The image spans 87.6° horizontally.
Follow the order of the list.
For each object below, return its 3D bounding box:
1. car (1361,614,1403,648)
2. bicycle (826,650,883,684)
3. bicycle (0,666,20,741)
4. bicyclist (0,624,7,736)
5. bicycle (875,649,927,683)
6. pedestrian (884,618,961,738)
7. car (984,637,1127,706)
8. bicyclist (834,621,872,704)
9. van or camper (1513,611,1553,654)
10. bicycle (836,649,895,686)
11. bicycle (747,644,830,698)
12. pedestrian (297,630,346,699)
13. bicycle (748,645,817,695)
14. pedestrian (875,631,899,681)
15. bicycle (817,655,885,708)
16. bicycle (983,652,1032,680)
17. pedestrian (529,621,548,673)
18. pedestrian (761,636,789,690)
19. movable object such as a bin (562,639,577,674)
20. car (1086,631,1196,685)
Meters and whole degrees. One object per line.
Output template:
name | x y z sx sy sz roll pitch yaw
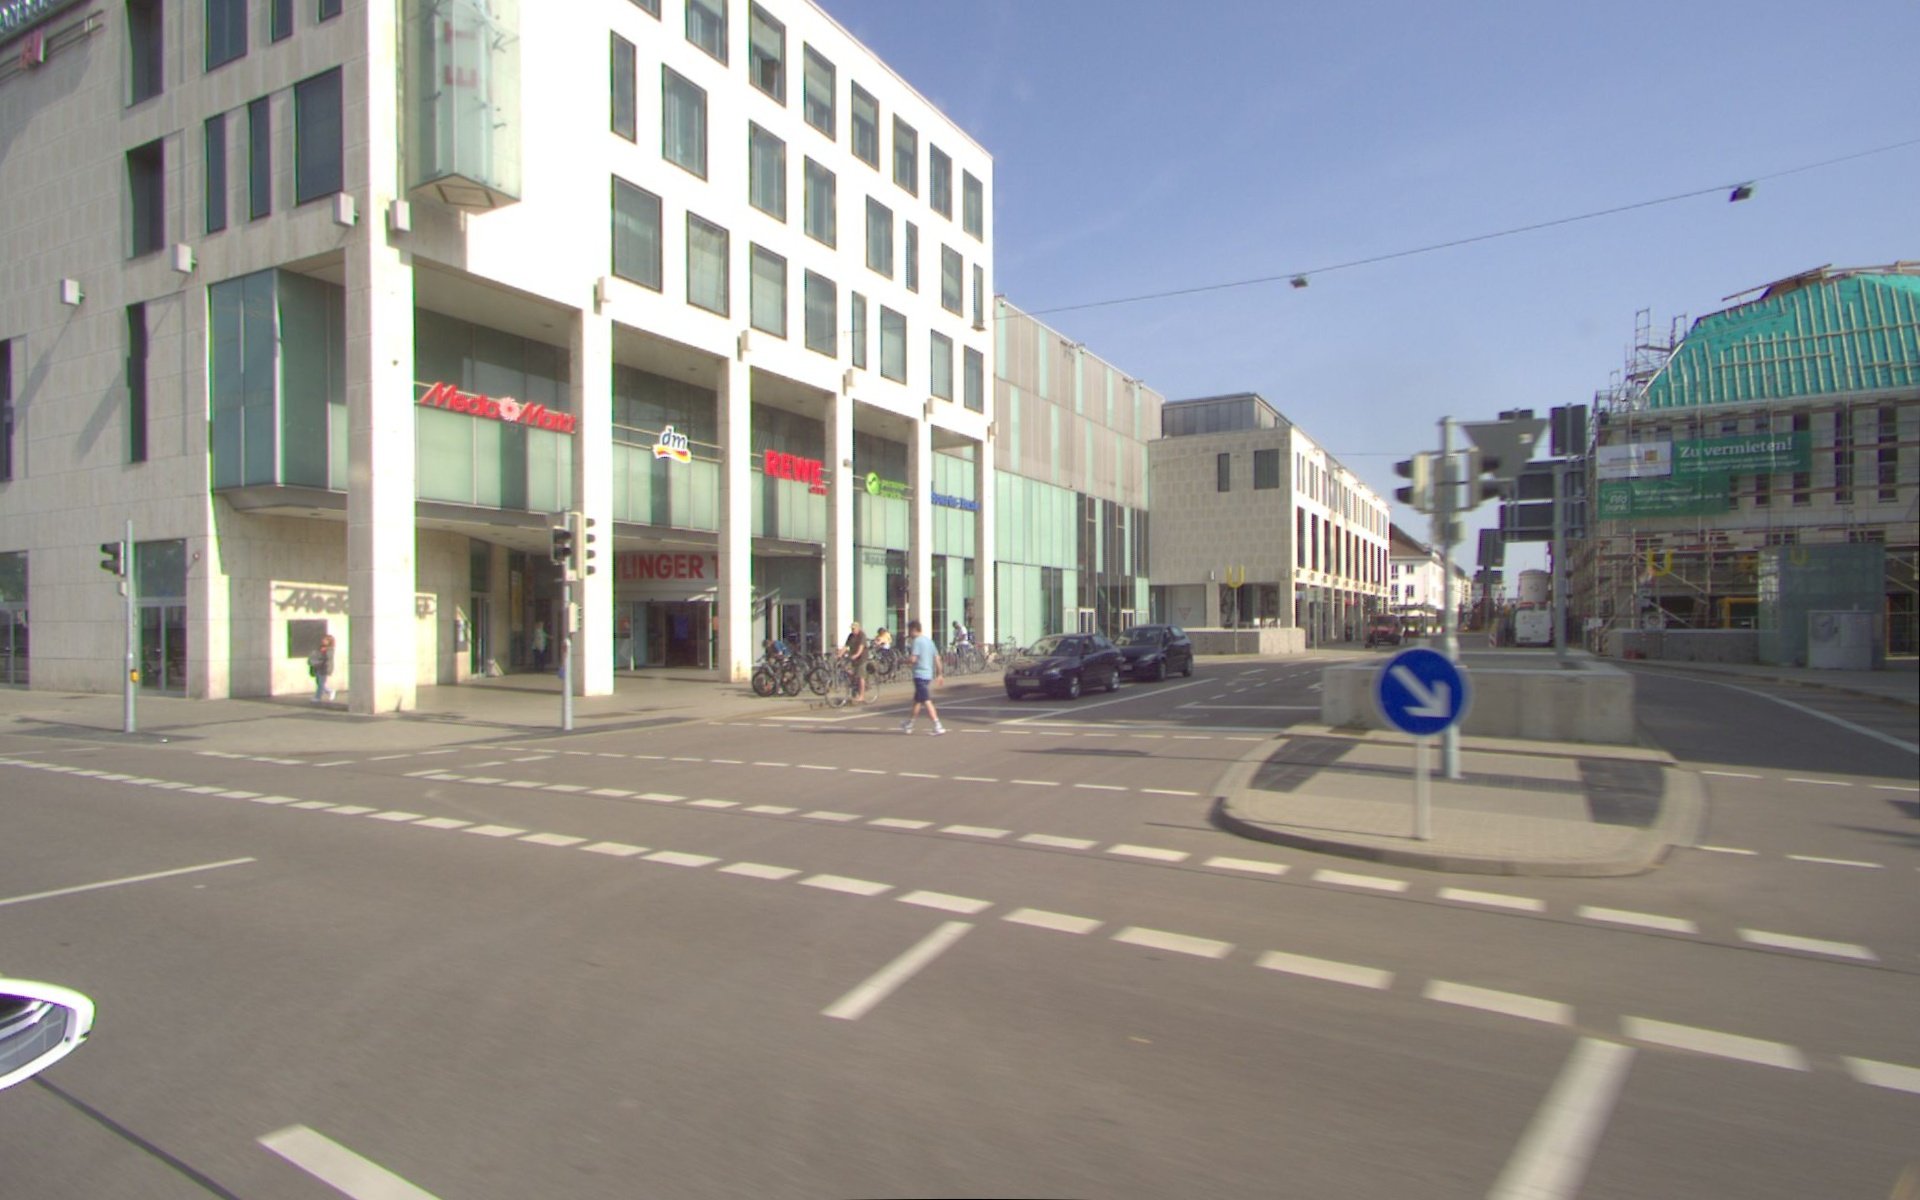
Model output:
car | 31.944 2.386 75.701 2.389 2.439 4.991 -1 -3 29
bicycle | -3.117 1.957 29.441 1.831 0.969 0.457 -1 -1 36
bicycle | -15.760 1.621 15.892 2.020 1.132 0.660 0 -1 29
bicyclist | -15.654 1.265 15.835 0.757 1.771 0.650 0 0 29
bicycle | -1.766 1.969 29.958 1.648 0.969 0.457 -1 -1 36
pedestrian | -0.559 1.147 15.055 0.976 1.733 0.641 0 -1 35
car | 2.301 1.595 23.246 1.850 1.384 3.887 -2 -2 31
bicyclist | -2.312 1.343 21.748 0.573 1.760 0.634 0 0 27
van or camper | 33.646 1.881 58.904 1.970 2.440 5.122 0 -1 29
bicycle | -2.689 1.909 28.496 1.831 0.969 0.457 -1 -1 36
bicycle | -4.157 1.698 24.220 2.038 1.253 0.612 -1 -1 29
pedestrian | -14.299 1.422 22.434 0.595 1.507 0.707 0 0 26
bicycle | -4.470 1.738 25.161 1.764 1.215 0.500 -1 -1 26
pedestrian | -2.259 1.720 30.855 0.724 1.504 0.602 0 -1 -4
bicycle | -2.336 1.743 21.710 0.602 1.030 1.801 0 -1 26
bicycle | 1.665 2.318 35.355 1.688 0.969 0.458 -1 -1 26
pedestrian | -14.003 1.565 33.284 0.496 1.700 0.455 0 0 -8
pedestrian | -4.772 1.619 25.852 0.538 1.373 0.512 0 -1 20
movable object such as a bin | -12.798 1.853 32.819 0.350 1.113 0.292 0 0 29
car | 5.223 1.599 28.593 1.851 1.420 3.896 -1 -2 31
